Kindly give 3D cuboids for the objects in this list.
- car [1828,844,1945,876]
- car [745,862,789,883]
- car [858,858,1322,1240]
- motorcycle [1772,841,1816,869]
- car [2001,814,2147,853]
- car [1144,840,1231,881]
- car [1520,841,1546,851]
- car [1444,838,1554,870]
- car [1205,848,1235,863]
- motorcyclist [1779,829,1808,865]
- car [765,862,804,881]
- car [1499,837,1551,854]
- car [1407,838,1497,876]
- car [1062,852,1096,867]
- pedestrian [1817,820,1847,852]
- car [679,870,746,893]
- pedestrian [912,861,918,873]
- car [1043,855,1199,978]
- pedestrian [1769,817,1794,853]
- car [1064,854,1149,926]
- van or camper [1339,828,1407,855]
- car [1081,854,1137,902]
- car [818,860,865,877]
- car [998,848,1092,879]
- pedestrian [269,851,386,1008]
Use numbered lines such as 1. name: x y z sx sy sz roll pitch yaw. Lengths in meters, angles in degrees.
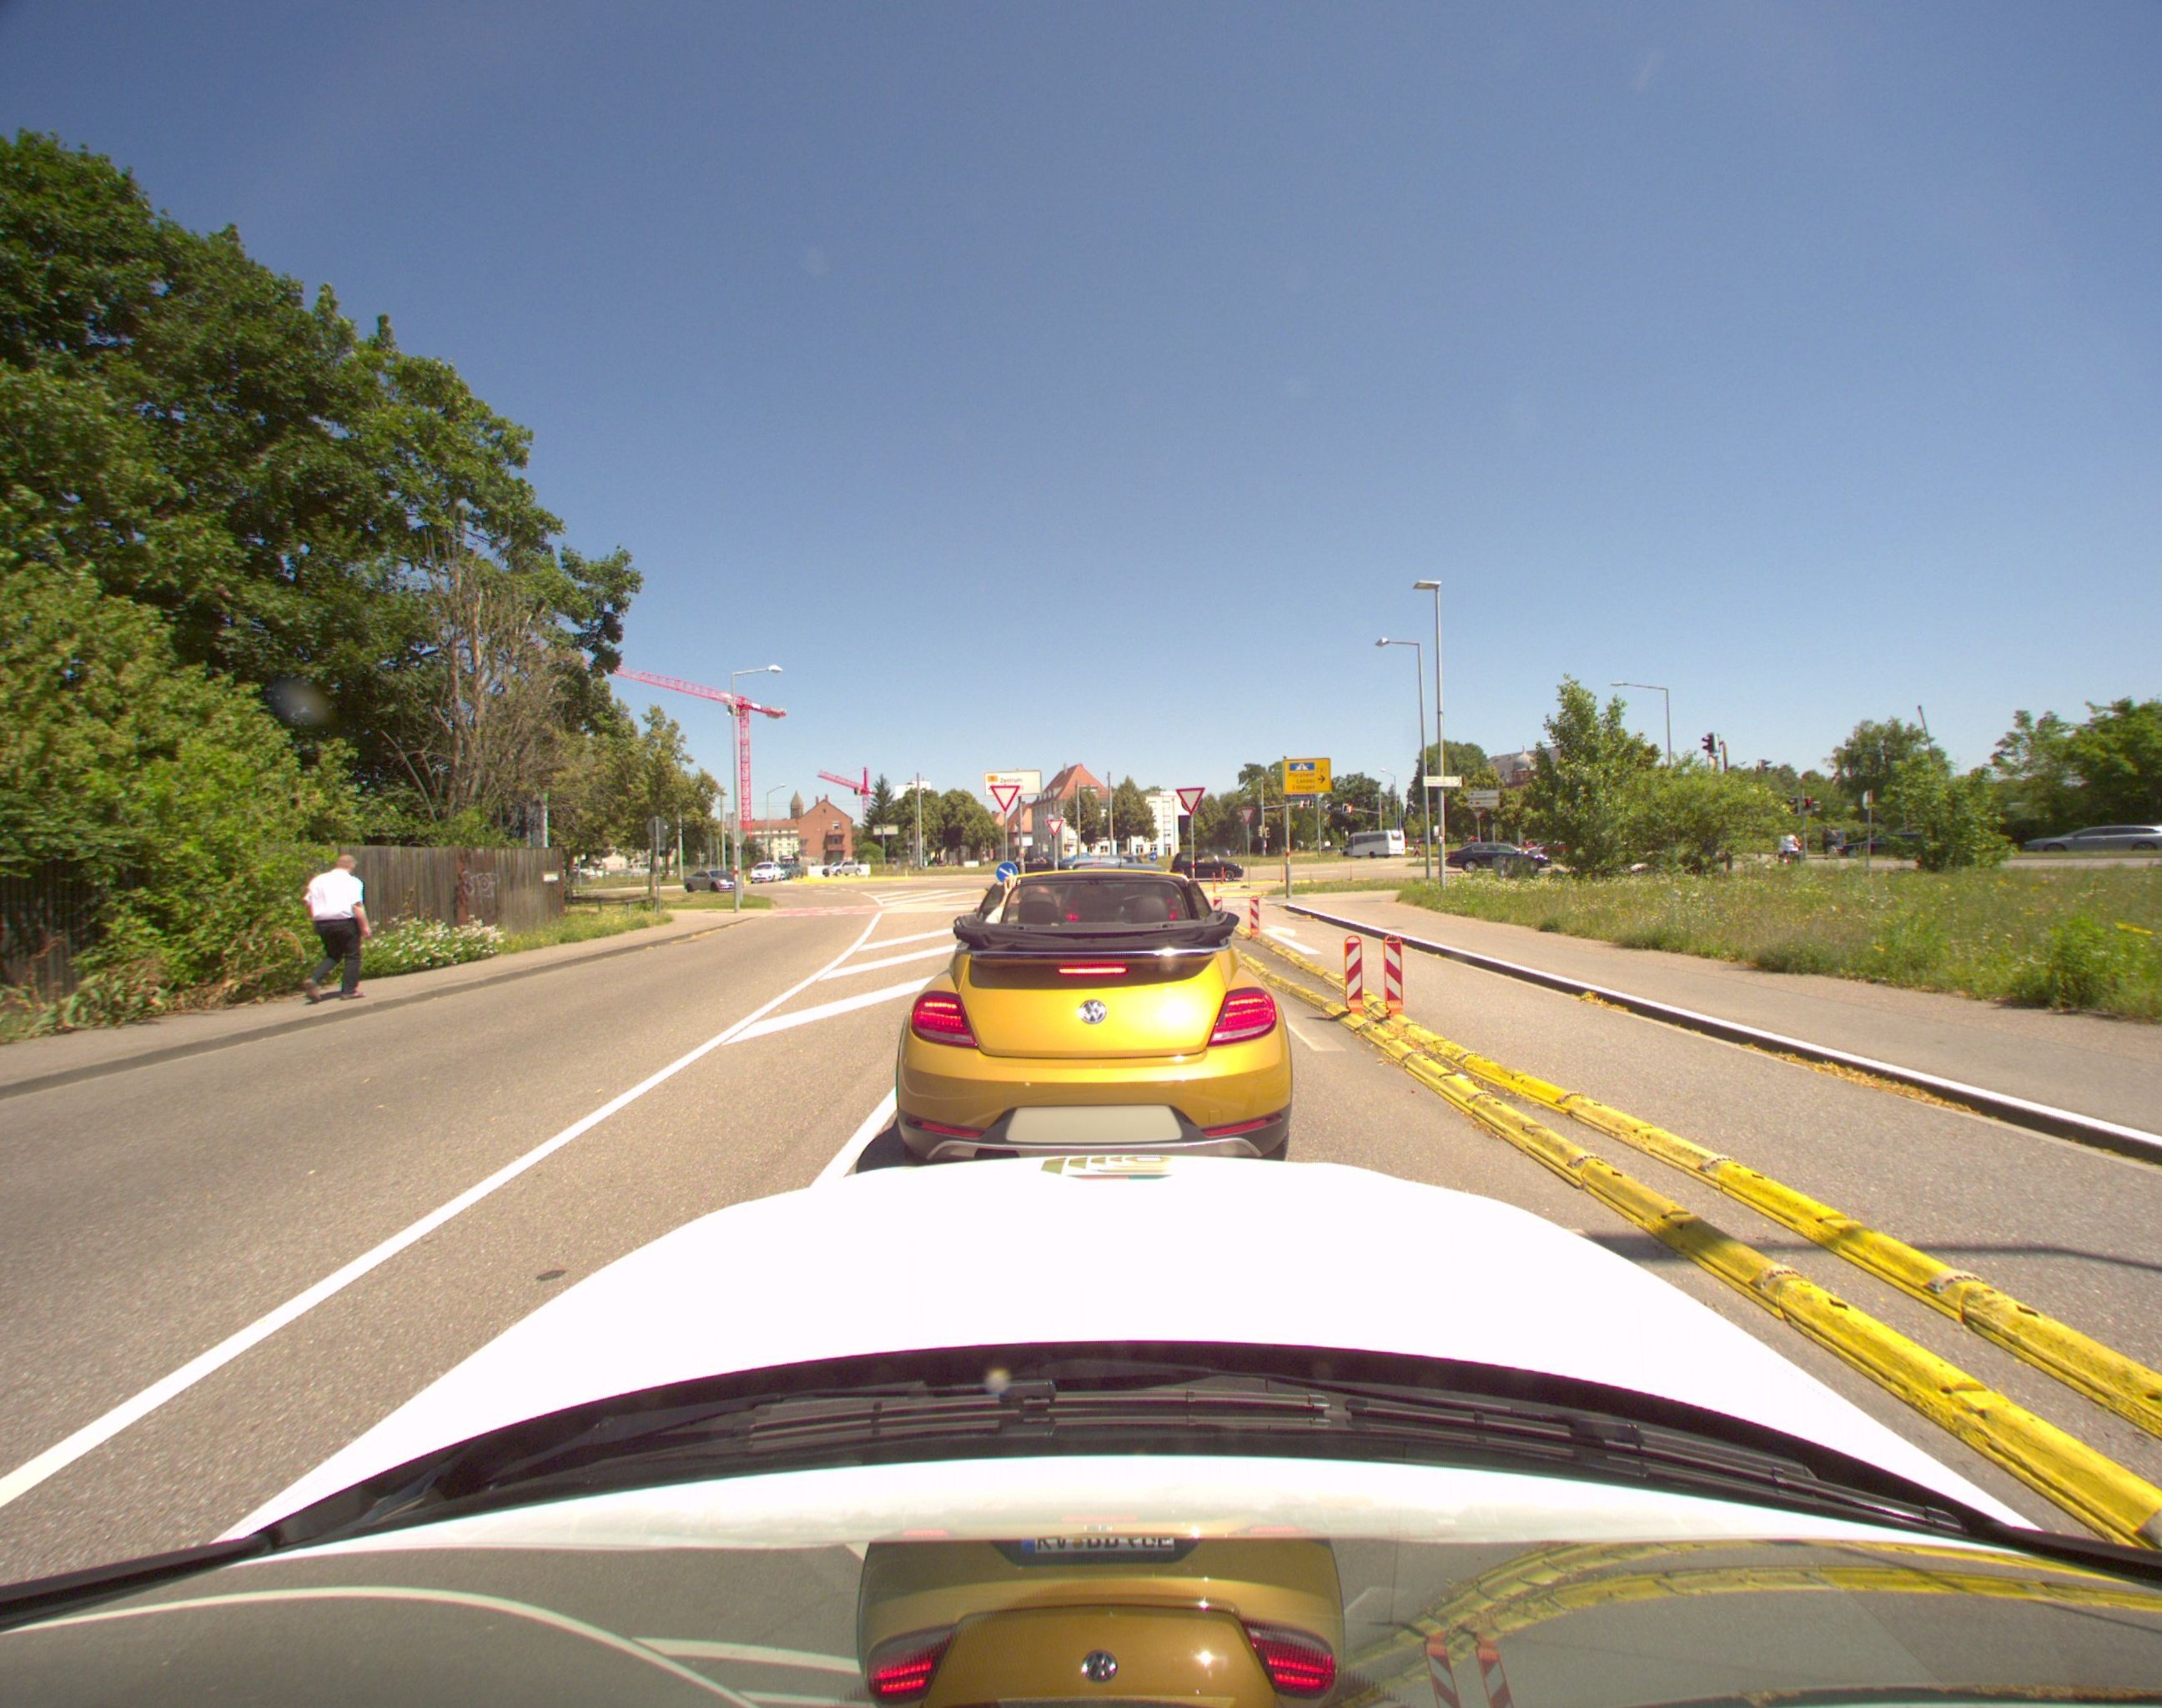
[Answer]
1. car: 45.854 0.359 46.450 1.746 1.688 4.635 -1 0 -43
2. car: -24.576 1.429 63.816 1.749 1.549 4.002 -1 0 2
3. car: 0.085 0.751 4.991 1.746 1.422 3.778 -1 0 1
4. motorcycle: 25.809 0.032 29.484 1.712 0.970 0.625 -1 0 -28
5. car: 48.171 -0.950 39.669 2.011 1.717 4.324 -1 0 -44
6. car: 5.153 0.315 39.122 3.960 1.816 2.007 -1 0 12
7. car: 84.811 -1.444 152.827 3.996 1.714 1.989 -1 0 -17
8. car: 20.294 0.028 39.757 4.484 1.447 1.830 -1 0 15
9. car: 15.835 0.142 92.762 3.205 1.606 1.651 -1 0 1
10. motorcyclist: 25.829 -0.256 29.530 0.616 1.289 0.576 -1 -1 -27
11. car: -25.105 1.457 69.105 1.749 1.549 4.002 -1 0 2
12. car: 36.430 -0.677 66.939 1.651 1.300 3.779 -1 0 -13
13. car: 18.707 0.168 41.223 3.954 1.816 2.010 -1 0 18
14. car: -0.234 0.697 100.993 3.983 1.838 1.995 -1 0 -7
15. pedestrian: 37.872 -0.906 41.066 0.787 1.563 0.824 -1 0 10
16. car: -22.378 1.645 49.352 4.222 1.316 1.834 -1 0 36
17. pedestrian: -22.939 1.816 112.294 0.492 1.563 0.596 -2 0 35
18. car: 0.545 0.759 11.766 1.841 1.442 4.002 -1 0 2
19. pedestrian: 36.366 -0.986 42.273 0.647 1.870 0.737 -1 -1 3
20. car: 0.586 0.751 18.784 1.730 1.442 4.002 -1 0 2
21. van or camper: 31.342 -1.272 87.733 2.516 2.693 7.455 -1 0 -23
22. car: 0.945 0.759 27.583 1.730 1.477 4.002 -1 0 2
23. car: -23.258 1.394 79.052 1.690 1.500 4.247 -1 0 34
24. car: -2.023 0.526 45.911 4.894 1.656 2.011 -1 0 22
25. pedestrian: -9.158 0.884 9.929 0.590 1.825 0.851 -1 0 2
